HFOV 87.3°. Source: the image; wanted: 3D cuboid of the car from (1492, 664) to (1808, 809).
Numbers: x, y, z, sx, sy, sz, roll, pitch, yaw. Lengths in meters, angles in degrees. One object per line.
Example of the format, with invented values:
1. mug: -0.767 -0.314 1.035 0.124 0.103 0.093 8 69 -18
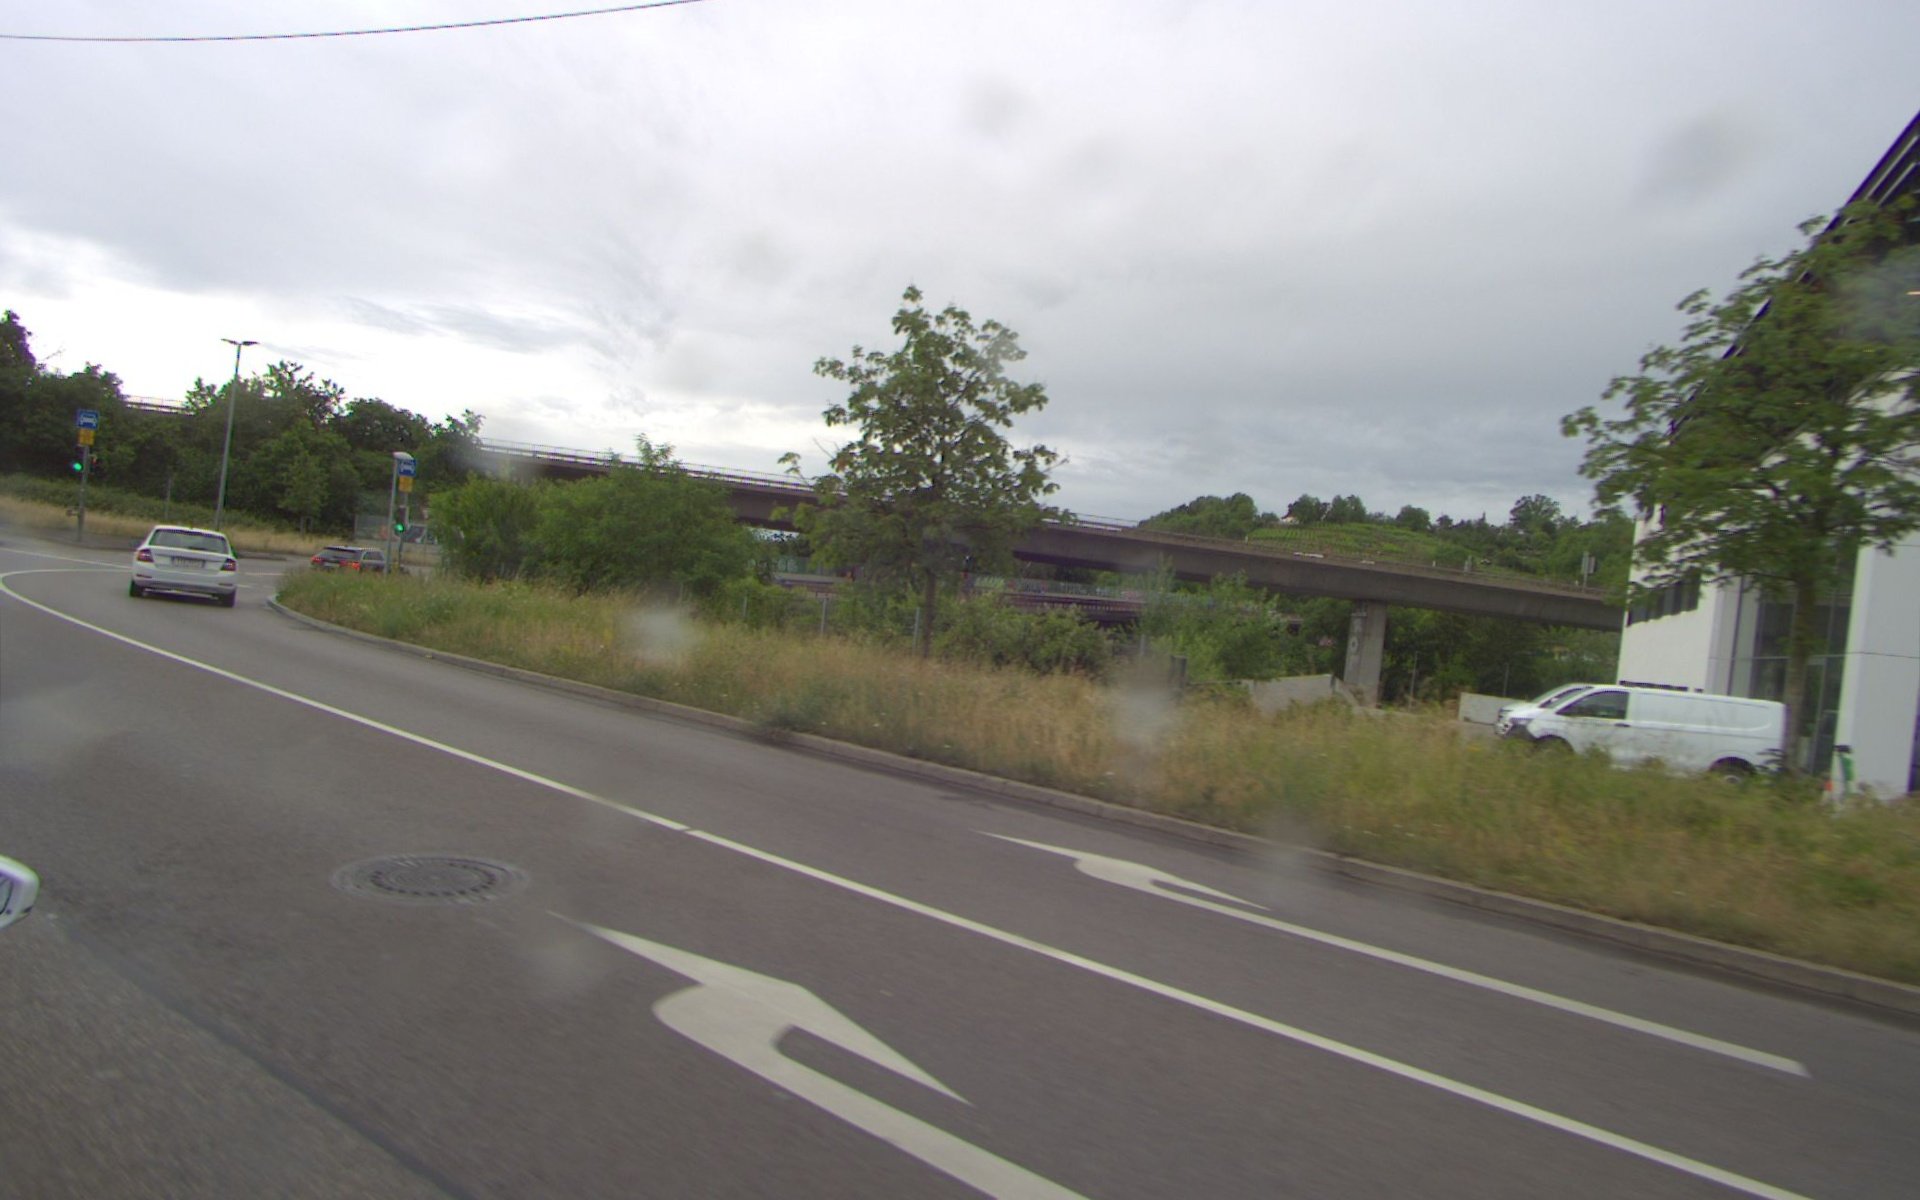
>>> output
1. car: 14.137 2.738 21.083 5.001 2.038 2.049 7 0 27

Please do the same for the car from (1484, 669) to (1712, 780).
1. car: 16.531 3.196 26.387 4.623 2.074 1.952 7 -2 26

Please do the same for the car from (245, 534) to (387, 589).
1. car: -22.888 -1.435 35.912 1.875 1.558 3.990 9 7 16

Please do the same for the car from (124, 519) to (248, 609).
1. car: -15.919 -0.761 20.690 1.740 1.474 3.632 9 -3 -39
